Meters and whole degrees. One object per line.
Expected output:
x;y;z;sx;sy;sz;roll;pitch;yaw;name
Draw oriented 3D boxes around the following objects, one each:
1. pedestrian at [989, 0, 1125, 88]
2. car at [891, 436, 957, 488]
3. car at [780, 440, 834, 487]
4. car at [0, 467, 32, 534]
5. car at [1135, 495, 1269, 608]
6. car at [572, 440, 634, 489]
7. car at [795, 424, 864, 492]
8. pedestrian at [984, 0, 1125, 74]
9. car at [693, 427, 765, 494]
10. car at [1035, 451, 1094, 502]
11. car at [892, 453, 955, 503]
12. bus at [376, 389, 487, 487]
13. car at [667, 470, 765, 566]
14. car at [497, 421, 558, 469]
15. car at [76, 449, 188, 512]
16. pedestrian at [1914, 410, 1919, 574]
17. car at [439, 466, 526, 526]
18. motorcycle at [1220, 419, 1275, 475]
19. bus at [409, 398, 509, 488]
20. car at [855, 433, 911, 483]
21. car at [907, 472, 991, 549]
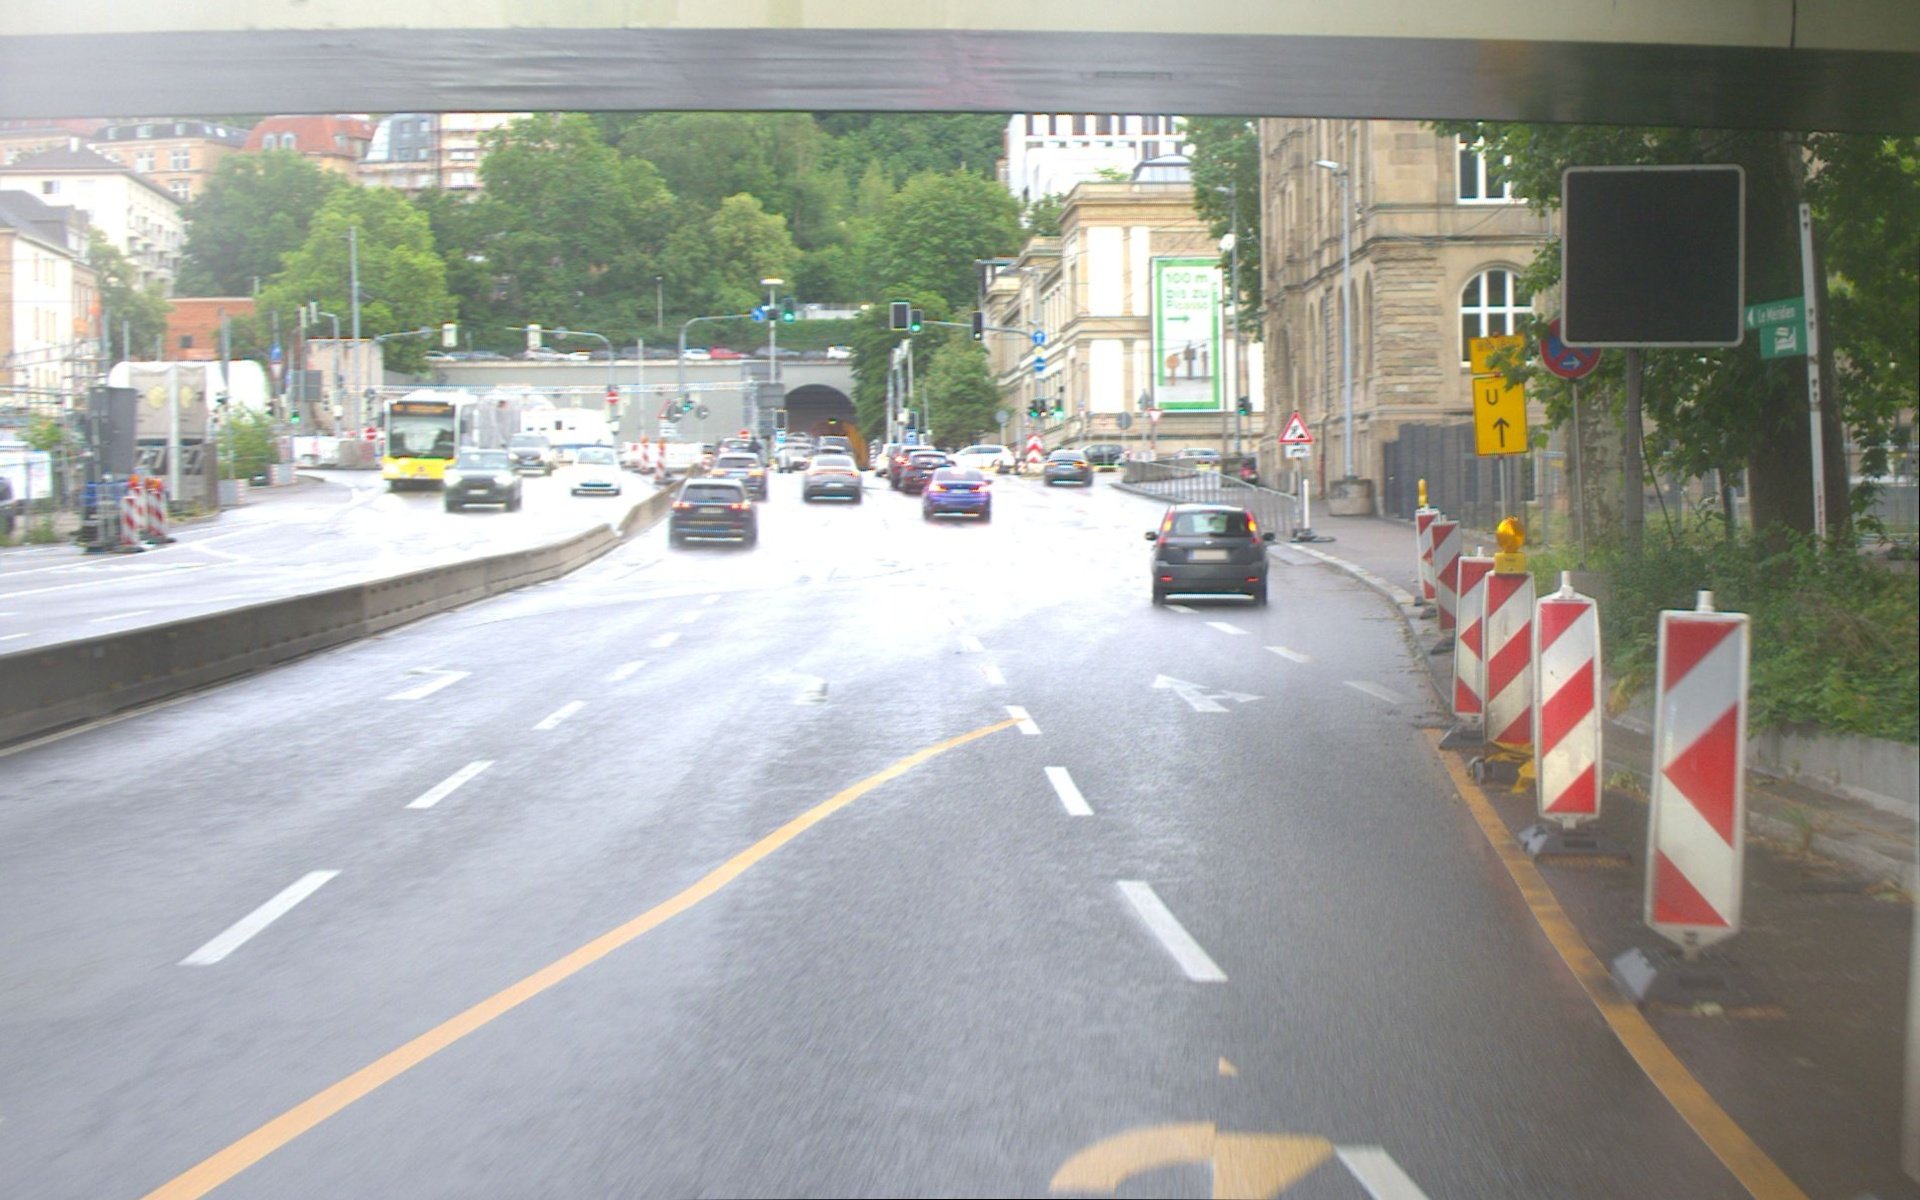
0.865;-5.709;30.832;1.148;2.053;1.059;-1;1;5;pedestrian
-1.290;-4.809;120.217;1.993;1.693;4.001;-1;1;-5;car
-7.119;-6.318;159.508;2.292;2.007;4.605;-1;1;-5;car
-23.414;-2.309;80.221;1.762;1.560;4.682;-1;1;7;car
3.506;-0.712;49.682;1.812;1.521;4.000;-1;1;4;car
-11.668;-4.419;112.424;1.709;1.484;3.451;-1;1;-1;car
-4.175;-4.502;109.383;2.051;2.007;4.001;-1;1;-4;car
0.815;-5.676;29.795;1.148;2.053;1.059;-1;1;5;pedestrian
-7.395;-4.448;110.345;1.993;2.007;4.000;-1;1;0;car
4.159;-4.919;136.910;1.993;2.006;4.001;0;2;-3;car
-1.366;-4.480;126.546;1.993;1.693;4.001;-1;1;-5;car
-18.021;-5.481;117.718;2.806;3.173;8.809;-1;2;-3;bus
-5.357;-1.794;75.840;2.016;2.007;4.001;-1;1;-3;car
-16.582;-5.927;132.045;2.039;1.656;4.934;-1;1;-4;car
-22.548;-3.280;93.776;1.993;1.616;4.001;0;3;1;car
12.422;-1.327;42.012;1.049;2.006;1.039;-2;3;-37;pedestrian
-13.685;-3.003;98.737;2.081;1.625;4.854;-1;2;-4;car
10.728;-5.747;128.620;1.795;2.006;3.813;0;3;1;motorcycle
-18.401;-5.742;126.741;2.703;3.140;9.152;-1;2;-3;bus
-3.239;-5.958;144.547;1.993;2.006;4.001;-1;2;-6;car
-0.323;-2.460;95.588;2.104;2.043;4.001;-1;1;-3;car
